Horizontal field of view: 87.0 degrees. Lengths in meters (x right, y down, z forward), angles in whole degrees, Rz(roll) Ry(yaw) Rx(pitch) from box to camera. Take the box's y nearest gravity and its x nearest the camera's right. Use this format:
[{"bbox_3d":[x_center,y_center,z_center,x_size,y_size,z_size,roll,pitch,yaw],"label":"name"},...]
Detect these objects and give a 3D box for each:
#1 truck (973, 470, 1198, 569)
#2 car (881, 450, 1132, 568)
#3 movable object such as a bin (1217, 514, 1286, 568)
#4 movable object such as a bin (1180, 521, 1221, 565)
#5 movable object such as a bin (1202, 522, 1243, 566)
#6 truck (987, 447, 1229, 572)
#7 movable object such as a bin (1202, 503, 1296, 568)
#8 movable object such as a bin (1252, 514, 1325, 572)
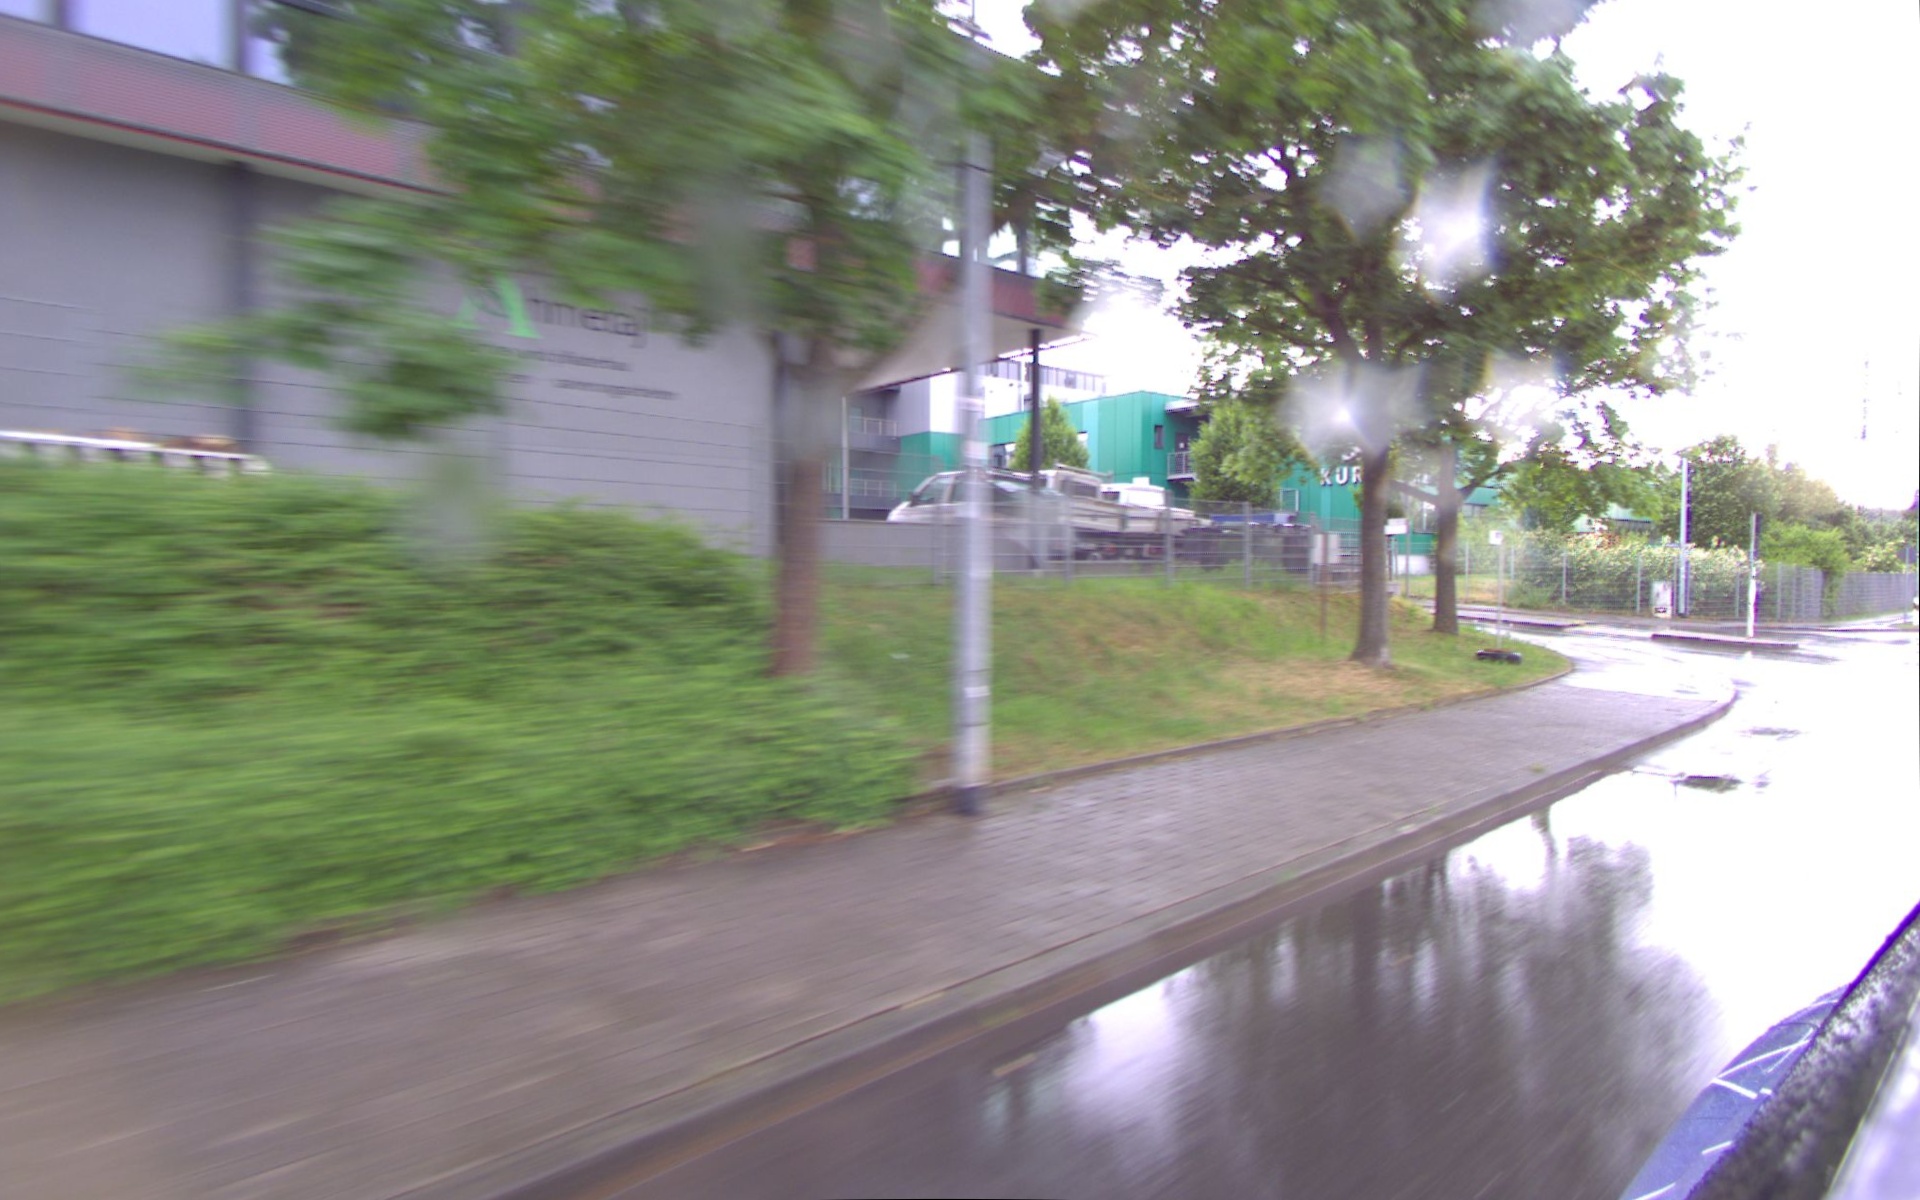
[{"bbox_3d":[3.066,-2.094,25.931,2.077,2.240,5.644,-1,5,-43],"label":"truck"},{"bbox_3d":[0.786,-1.796,20.141,2.028,2.037,4.931,-1,5,-43],"label":"car"},{"bbox_3d":[5.980,-1.207,20.769,1.034,1.055,0.883,0,4,-40],"label":"movable object such as a bin"},{"bbox_3d":[4.647,-1.098,19.568,0.514,0.811,0.539,0,4,-42],"label":"movable object such as a bin"},{"bbox_3d":[5.204,-1.105,20.064,0.556,0.827,0.539,0,4,-42],"label":"movable object such as a bin"},{"bbox_3d":[3.093,-1.949,21.999,2.212,2.369,4.831,-1,5,-42],"label":"truck"},{"bbox_3d":[7.134,-1.593,25.002,1.847,1.518,1.295,5,4,34],"label":"movable object such as a bin"},{"bbox_3d":[7.019,-1.212,21.627,1.123,1.176,1.026,0,4,-42],"label":"movable object such as a bin"}]
